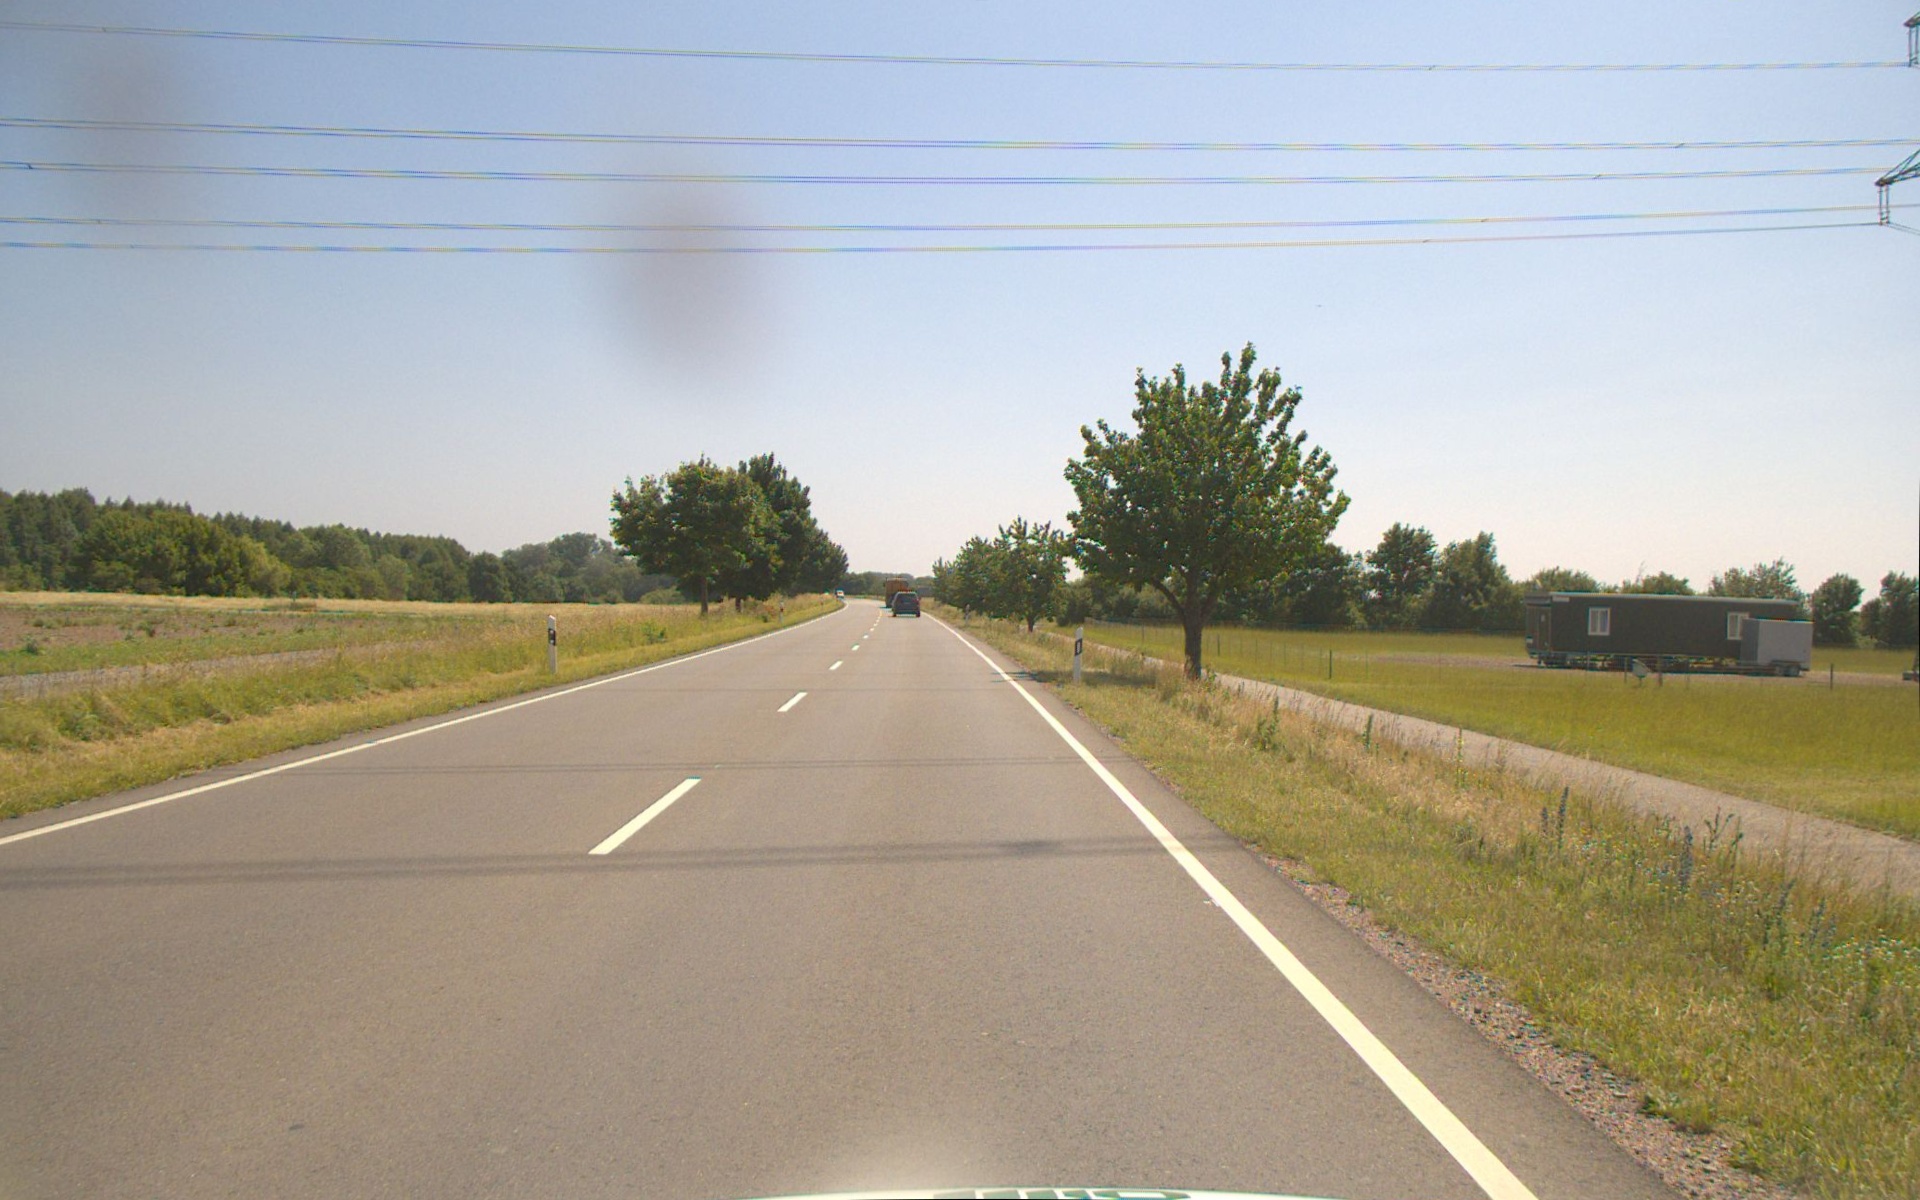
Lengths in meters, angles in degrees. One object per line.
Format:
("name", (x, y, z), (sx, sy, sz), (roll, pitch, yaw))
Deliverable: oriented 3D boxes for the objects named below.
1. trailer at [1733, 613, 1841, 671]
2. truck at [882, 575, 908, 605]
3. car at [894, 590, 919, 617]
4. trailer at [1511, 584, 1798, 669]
("trailer", (38.037, 1.899, 76.131), (3.909, 2.485, 1.998), (2, 0, -5))
("truck", (-7.214, -1.069, 183.666), (2.325, 3.195, 8.736), (1, 0, -6))
("car", (-3.671, 0.240, 112.925), (1.680, 1.723, 3.987), (1, 0, -2))
("trailer", (33.004, 1.226, 78.925), (12.164, 3.533, 3.803), (2, 0, -3))
